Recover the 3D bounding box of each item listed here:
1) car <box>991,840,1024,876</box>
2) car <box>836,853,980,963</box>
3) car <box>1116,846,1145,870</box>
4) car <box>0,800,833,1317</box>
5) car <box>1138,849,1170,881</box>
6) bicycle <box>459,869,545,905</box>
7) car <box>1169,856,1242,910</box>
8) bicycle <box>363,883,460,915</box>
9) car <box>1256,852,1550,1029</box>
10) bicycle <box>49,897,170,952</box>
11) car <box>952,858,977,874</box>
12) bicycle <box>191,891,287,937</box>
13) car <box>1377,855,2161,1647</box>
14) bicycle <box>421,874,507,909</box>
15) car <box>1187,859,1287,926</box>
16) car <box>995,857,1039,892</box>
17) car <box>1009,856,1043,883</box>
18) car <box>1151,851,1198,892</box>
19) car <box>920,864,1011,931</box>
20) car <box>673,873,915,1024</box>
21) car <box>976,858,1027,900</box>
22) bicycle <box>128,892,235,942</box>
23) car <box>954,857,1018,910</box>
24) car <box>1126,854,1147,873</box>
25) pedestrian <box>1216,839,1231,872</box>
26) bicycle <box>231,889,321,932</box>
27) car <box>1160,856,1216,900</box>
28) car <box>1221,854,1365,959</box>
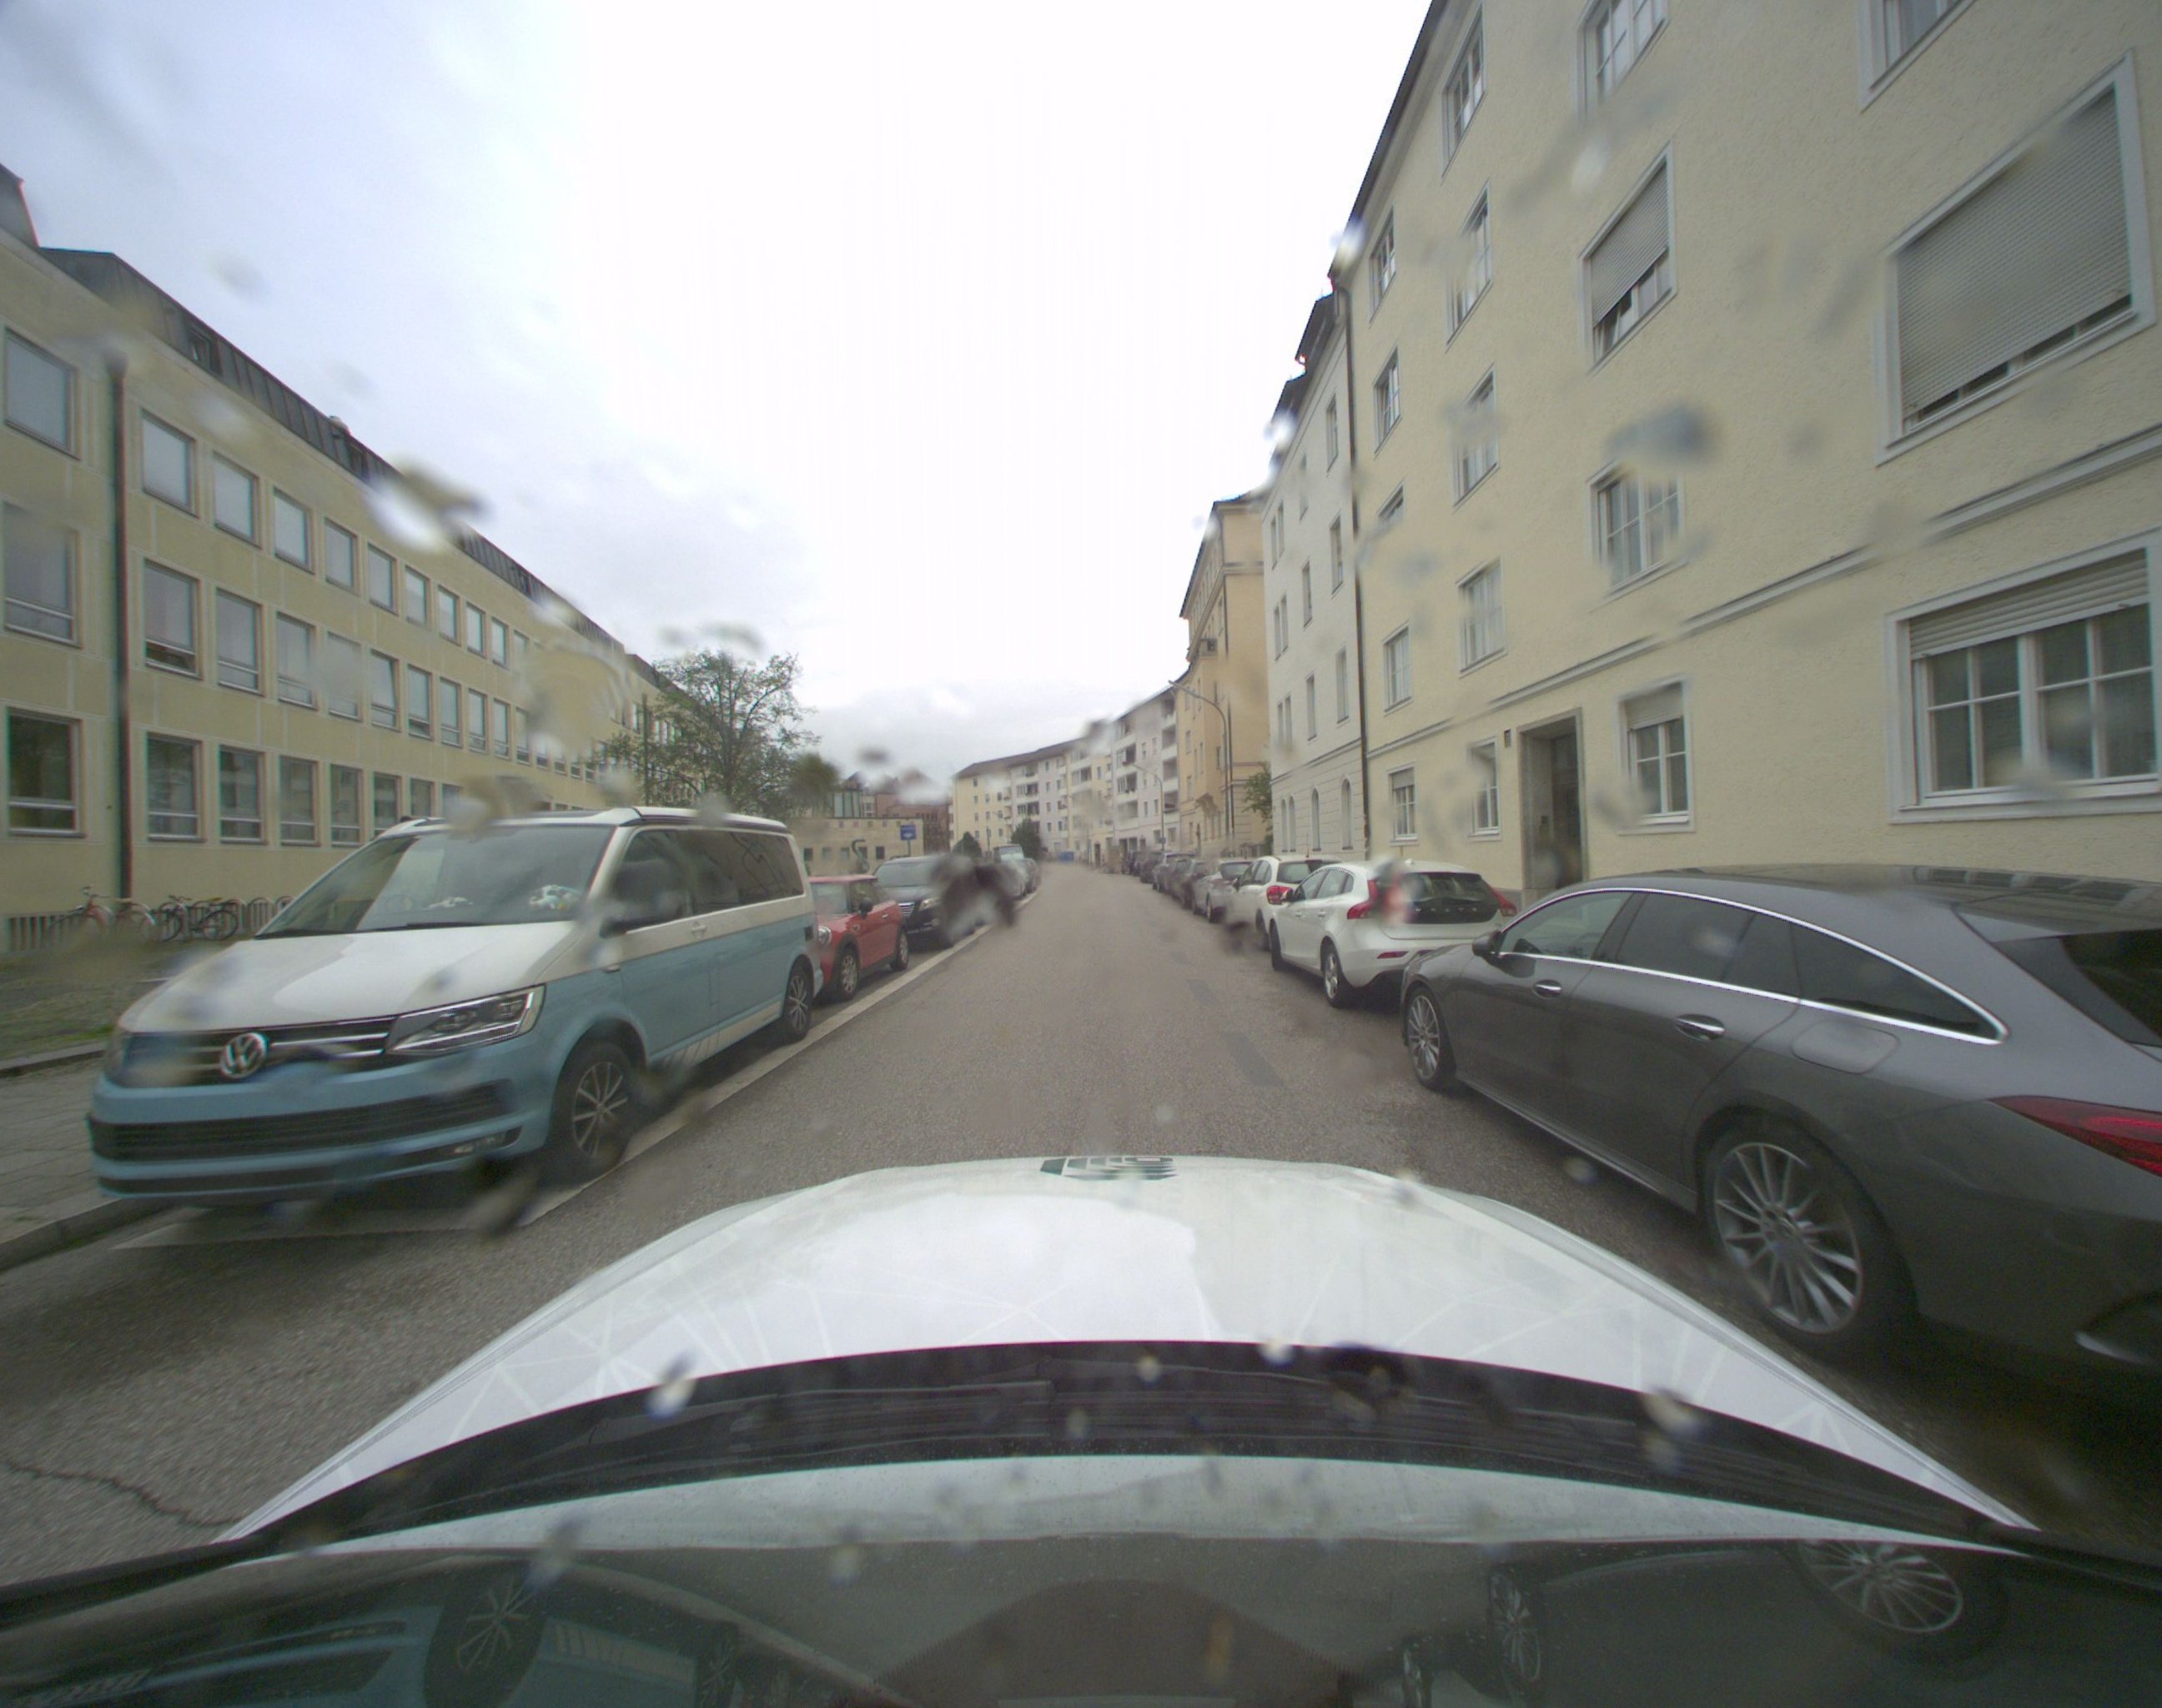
[{"bbox_3d":[-5.674,0.276,62.189,1.774,2.654,3.978,0,0,-16],"label":"car"},{"bbox_3d":[-3.127,0.892,15.520,1.696,1.691,4.029,-4,0,1],"label":"car"},{"bbox_3d":[3.708,0.300,61.005,1.600,1.715,3.081,-1,0,-8],"label":"car"},{"bbox_3d":[-3.368,0.796,5.547,1.877,1.931,4.599,-4,0,-1],"label":"car"},{"bbox_3d":[3.933,0.571,44.290,1.469,1.641,4.001,0,0,1],"label":"car"},{"bbox_3d":[-20.844,1.177,29.381,2.249,1.168,1.042,-1,0,-14],"label":"bicycle"},{"bbox_3d":[3.625,0.787,24.348,1.585,1.432,4.422,0,0,1],"label":"car"},{"bbox_3d":[-20.144,1.346,24.549,2.210,0.835,0.492,-2,-1,-17],"label":"bicycle"},{"bbox_3d":[3.288,0.762,9.299,1.686,1.491,4.283,-2,0,1],"label":"car"},{"bbox_3d":[-18.484,1.325,15.517,1.530,0.955,0.364,-1,0,-15],"label":"bicycle"},{"bbox_3d":[-12.121,1.277,84.653,1.607,1.648,3.114,1,-1,-26],"label":"car"},{"bbox_3d":[-18.984,1.352,18.388,1.530,0.955,0.364,-1,0,-15],"label":"bicycle"},{"bbox_3d":[2.967,0.790,3.685,1.686,1.491,4.343,-2,-1,1],"label":"car"},{"bbox_3d":[-20.407,1.233,26.987,2.210,1.037,0.492,-2,-1,-17],"label":"bicycle"},{"bbox_3d":[3.622,0.851,19.511,1.686,1.432,3.945,0,-1,1],"label":"car"},{"bbox_3d":[-2.892,0.901,37.383,1.618,1.419,3.981,-3,0,0],"label":"car"},{"bbox_3d":[-3.135,0.879,46.821,1.618,1.419,3.647,-3,0,0],"label":"car"},{"bbox_3d":[3.895,0.684,34.485,1.585,1.582,4.299,0,0,1],"label":"car"},{"bbox_3d":[-2.870,1.035,20.953,1.618,1.412,3.799,-4,0,1],"label":"car"},{"bbox_3d":[-3.397,1.042,10.399,1.646,1.373,3.653,-4,0,1],"label":"car"},{"bbox_3d":[-3.041,0.930,31.852,1.619,1.419,3.979,-3,0,-1],"label":"car"},{"bbox_3d":[-18.685,1.306,16.935,1.530,0.955,0.364,-1,0,-15],"label":"bicycle"},{"bbox_3d":[-3.025,0.903,26.536,1.619,1.508,3.979,-3,0,-1],"label":"car"},{"bbox_3d":[3.816,0.640,56.054,1.267,1.299,2.797,-1,0,1],"label":"car"},{"bbox_3d":[7.417,0.066,42.279,0.664,1.692,0.690,0,-1,2],"label":"pedestrian"},{"bbox_3d":[-19.110,1.330,19.360,1.530,0.955,0.364,-1,0,-15],"label":"bicycle"},{"bbox_3d":[3.789,0.806,29.439,1.585,1.432,3.826,0,0,1],"label":"car"},{"bbox_3d":[3.517,0.795,14.142,1.593,1.491,3.801,-2,0,2],"label":"car"}]
